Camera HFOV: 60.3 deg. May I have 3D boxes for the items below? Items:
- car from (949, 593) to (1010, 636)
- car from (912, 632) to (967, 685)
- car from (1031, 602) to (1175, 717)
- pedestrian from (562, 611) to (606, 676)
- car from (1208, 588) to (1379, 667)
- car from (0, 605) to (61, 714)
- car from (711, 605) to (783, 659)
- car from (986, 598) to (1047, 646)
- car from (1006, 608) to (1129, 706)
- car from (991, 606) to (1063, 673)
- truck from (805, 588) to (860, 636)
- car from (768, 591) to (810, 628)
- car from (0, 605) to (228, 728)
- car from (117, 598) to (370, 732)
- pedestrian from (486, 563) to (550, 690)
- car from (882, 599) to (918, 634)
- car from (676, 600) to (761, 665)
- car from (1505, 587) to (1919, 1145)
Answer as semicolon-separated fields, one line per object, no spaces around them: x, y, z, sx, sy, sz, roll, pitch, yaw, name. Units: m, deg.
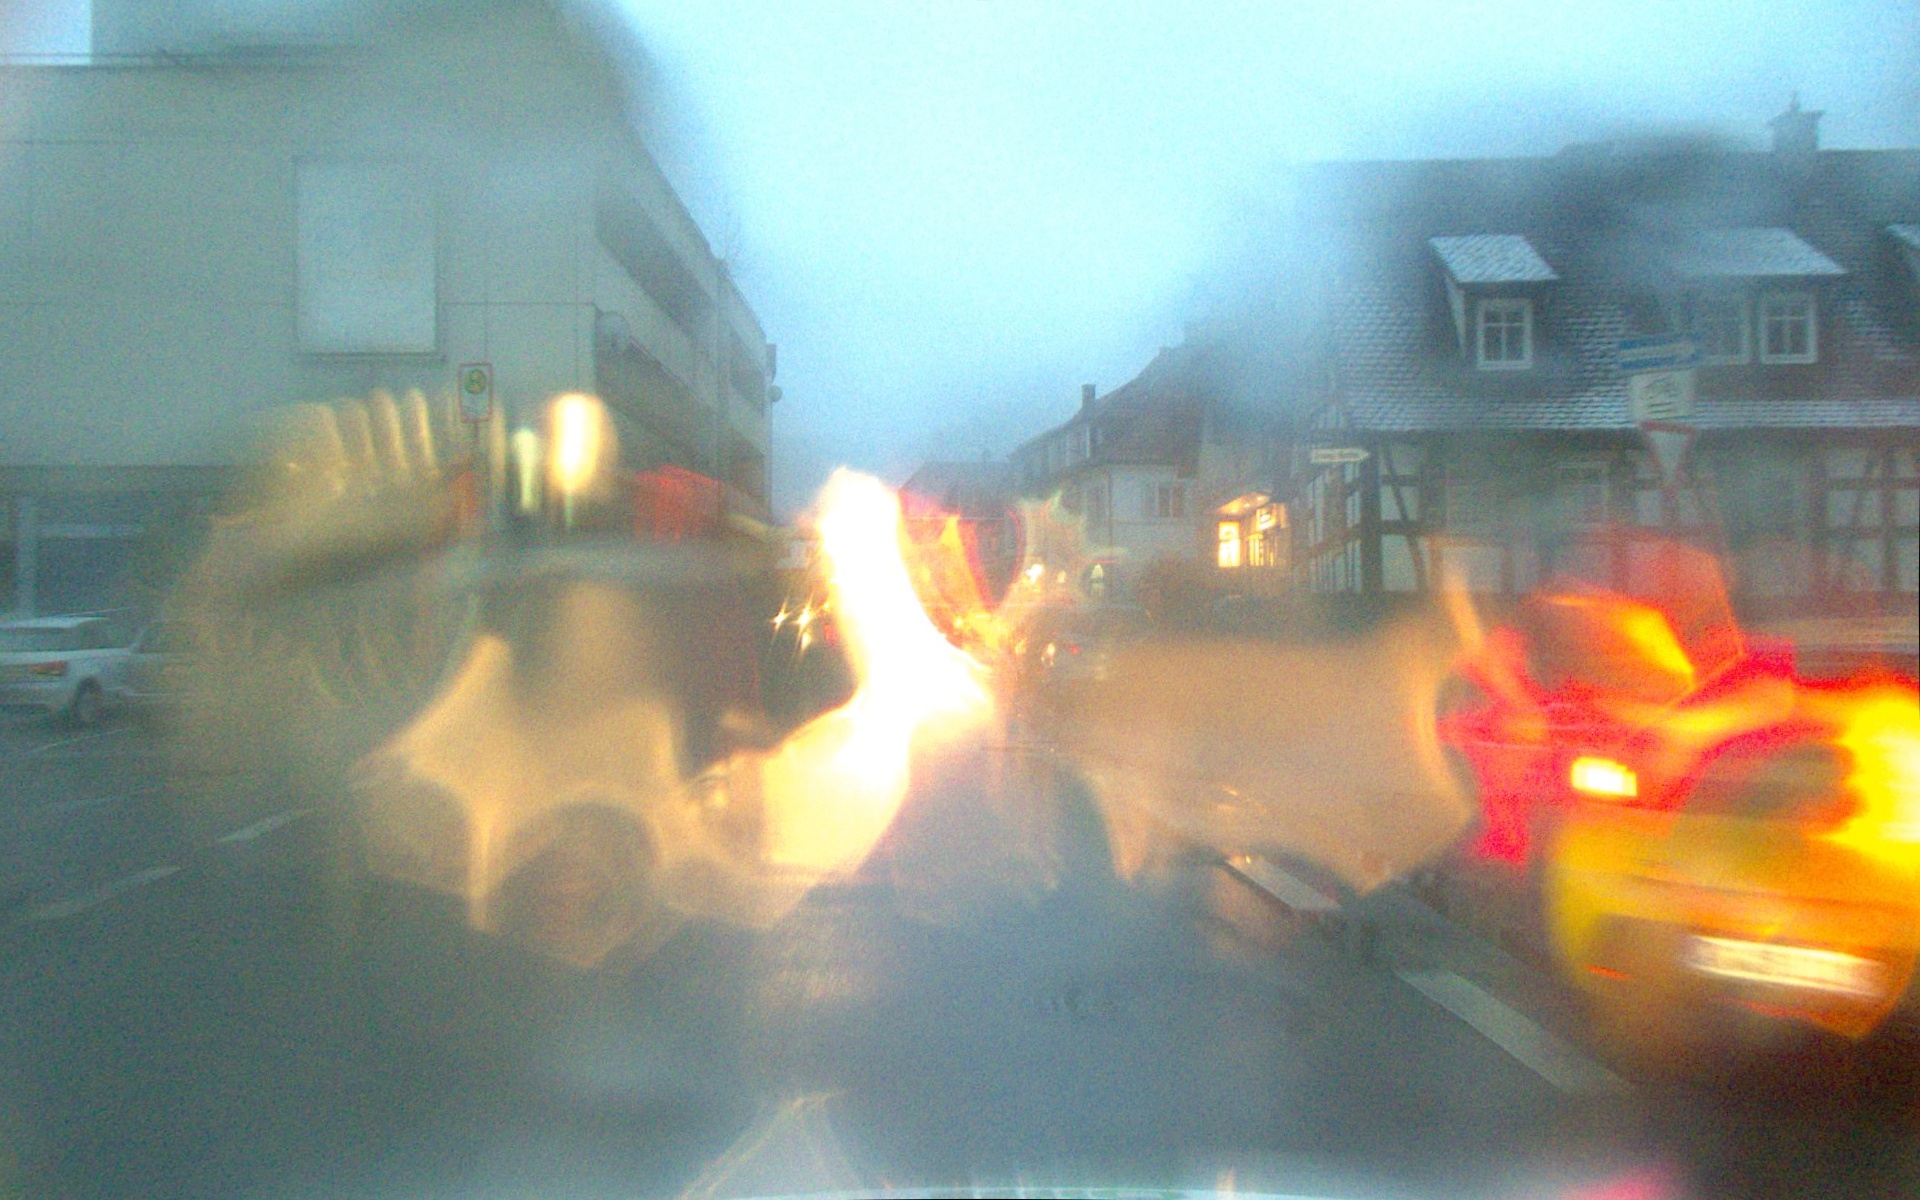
0.735;0.550;65.091;1.846;1.574;4.665;-1;0;-6;car
-0.648;1.753;50.670;1.605;1.507;3.378;1;-1;-1;car
2.019;0.813;24.300;1.697;1.484;3.999;-2;0;0;car
-8.003;0.919;35.229;0.740;1.333;0.828;1;-1;-2;pedestrian
7.095;0.579;35.376;3.224;1.466;1.686;-3;-1;-2;car
-14.895;0.919;22.776;2.058;1.526;5.047;-1;1;3;car
-6.219;0.911;48.695;1.641;1.472;4.426;2;0;-2;car
1.879;0.726;56.318;1.758;1.486;4.529;-2;0;-2;car
1.854;0.956;29.641;1.729;1.553;4.388;-2;0;-2;car
1.599;0.923;40.103;1.593;1.466;3.800;-2;0;1;car
-8.927;0.803;114.950;2.961;3.183;7.979;1;0;-11;truck
-8.114;0.442;78.305;1.761;1.671;3.805;1;0;-8;car
-12.218;0.861;23.349;1.662;1.424;4.452;-1;1;1;car
-9.690;0.802;22.767;1.728;1.526;4.448;-1;1;-3;car
-7.044;0.411;26.434;0.957;1.972;1.198;0;0;-14;pedestrian
-2.799;0.746;76.527;1.605;1.507;3.269;1;0;-3;car
-6.210;0.805;42.920;1.582;1.559;3.928;2;0;0;car
3.711;0.713;6.059;3.699;1.473;1.747;-2;1;-44;car
